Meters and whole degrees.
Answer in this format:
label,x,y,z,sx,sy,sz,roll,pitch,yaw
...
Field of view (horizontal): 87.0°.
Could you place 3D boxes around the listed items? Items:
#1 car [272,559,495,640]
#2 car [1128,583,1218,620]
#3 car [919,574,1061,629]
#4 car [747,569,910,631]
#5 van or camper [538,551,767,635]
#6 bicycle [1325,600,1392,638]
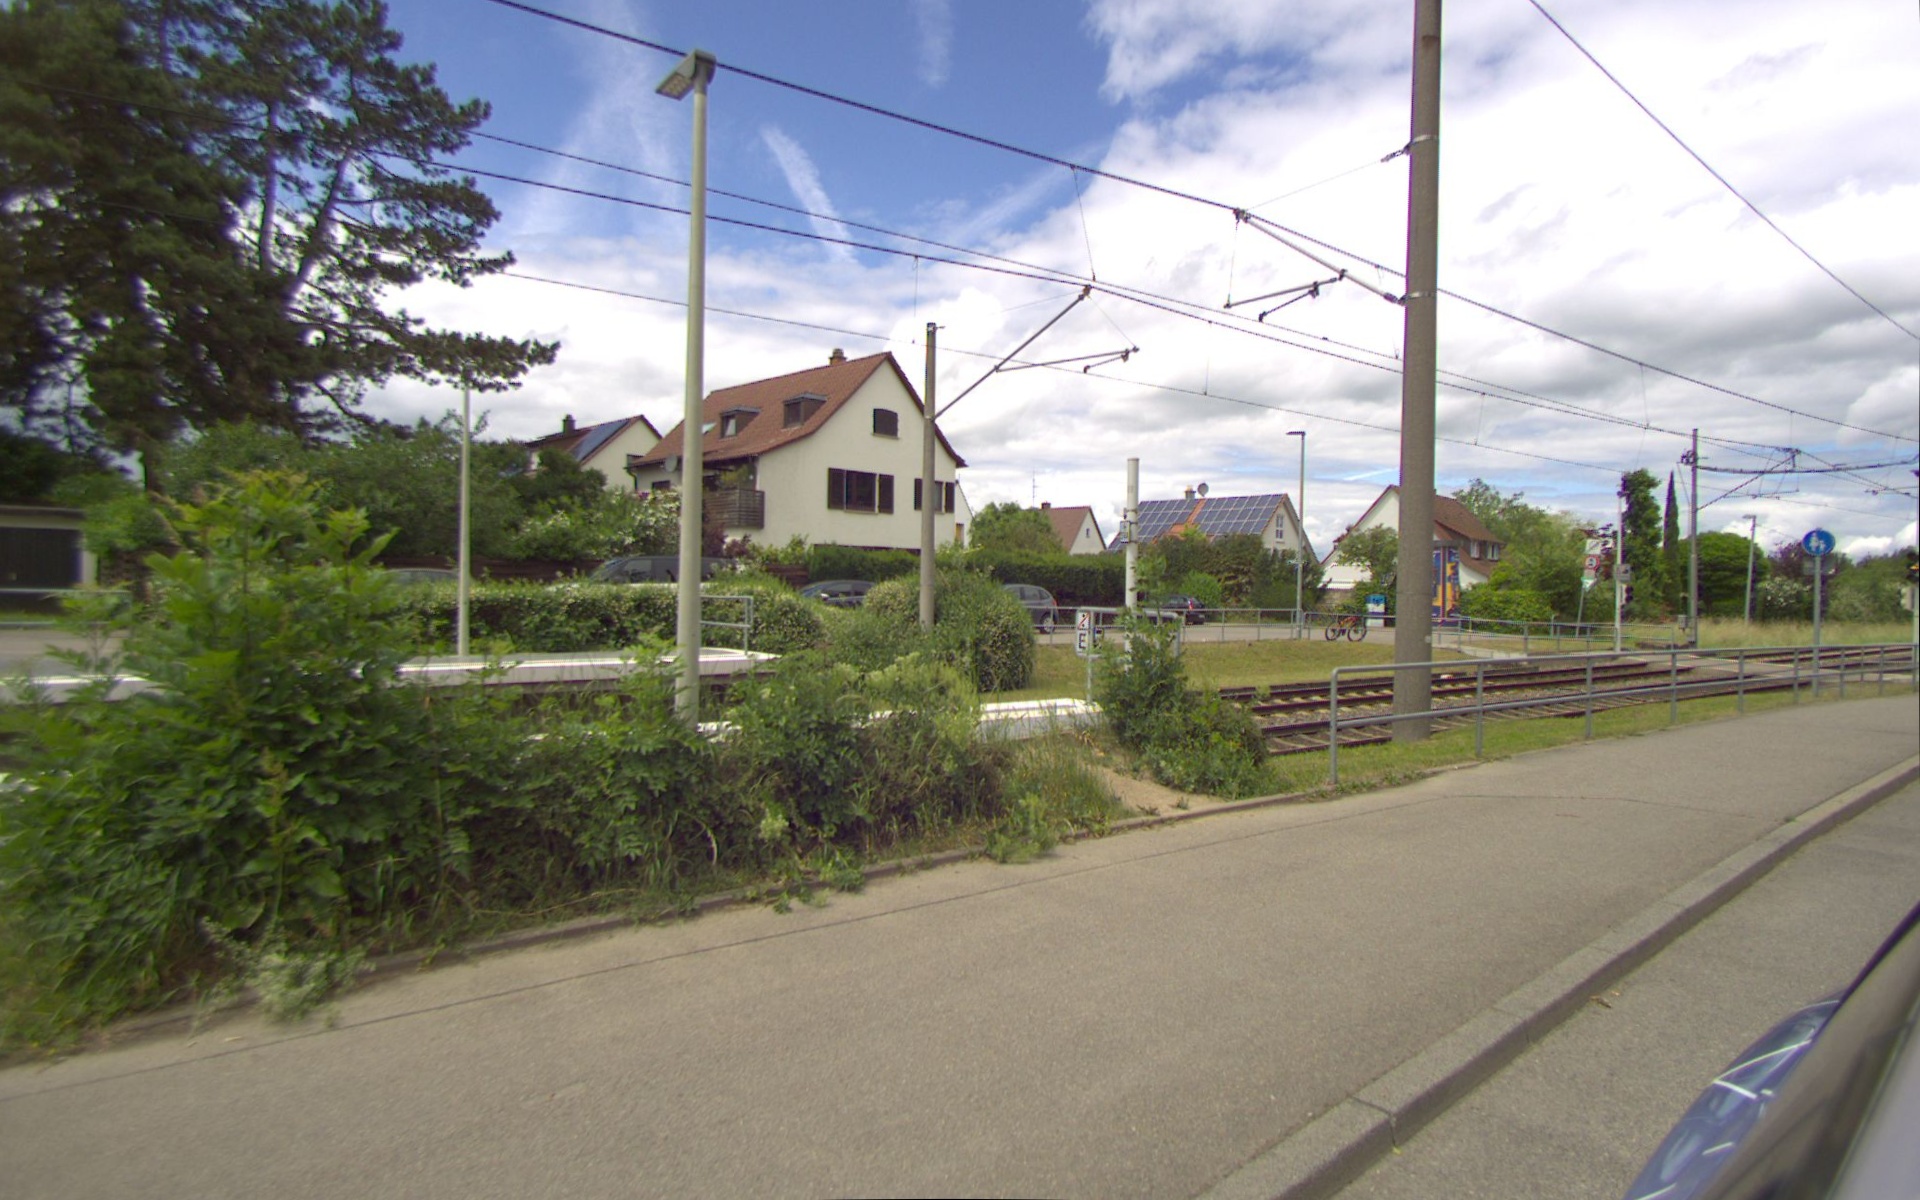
label,x,y,z,sx,sy,sz,roll,pitch,yaw
car,-12.085,-0.032,21.292,3.923,1.541,1.890,0,1,-34
car,9.813,0.026,46.780,3.716,1.643,1.798,1,1,41
car,0.935,0.020,30.521,3.923,1.541,1.890,0,1,-35
car,-3.520,-0.022,27.233,3.923,1.541,1.890,0,1,-34
van or camper,-7.348,-0.172,24.403,4.950,1.849,1.912,0,1,-34
bicycle,12.507,0.601,31.728,2.490,1.057,0.541,3,6,-34
